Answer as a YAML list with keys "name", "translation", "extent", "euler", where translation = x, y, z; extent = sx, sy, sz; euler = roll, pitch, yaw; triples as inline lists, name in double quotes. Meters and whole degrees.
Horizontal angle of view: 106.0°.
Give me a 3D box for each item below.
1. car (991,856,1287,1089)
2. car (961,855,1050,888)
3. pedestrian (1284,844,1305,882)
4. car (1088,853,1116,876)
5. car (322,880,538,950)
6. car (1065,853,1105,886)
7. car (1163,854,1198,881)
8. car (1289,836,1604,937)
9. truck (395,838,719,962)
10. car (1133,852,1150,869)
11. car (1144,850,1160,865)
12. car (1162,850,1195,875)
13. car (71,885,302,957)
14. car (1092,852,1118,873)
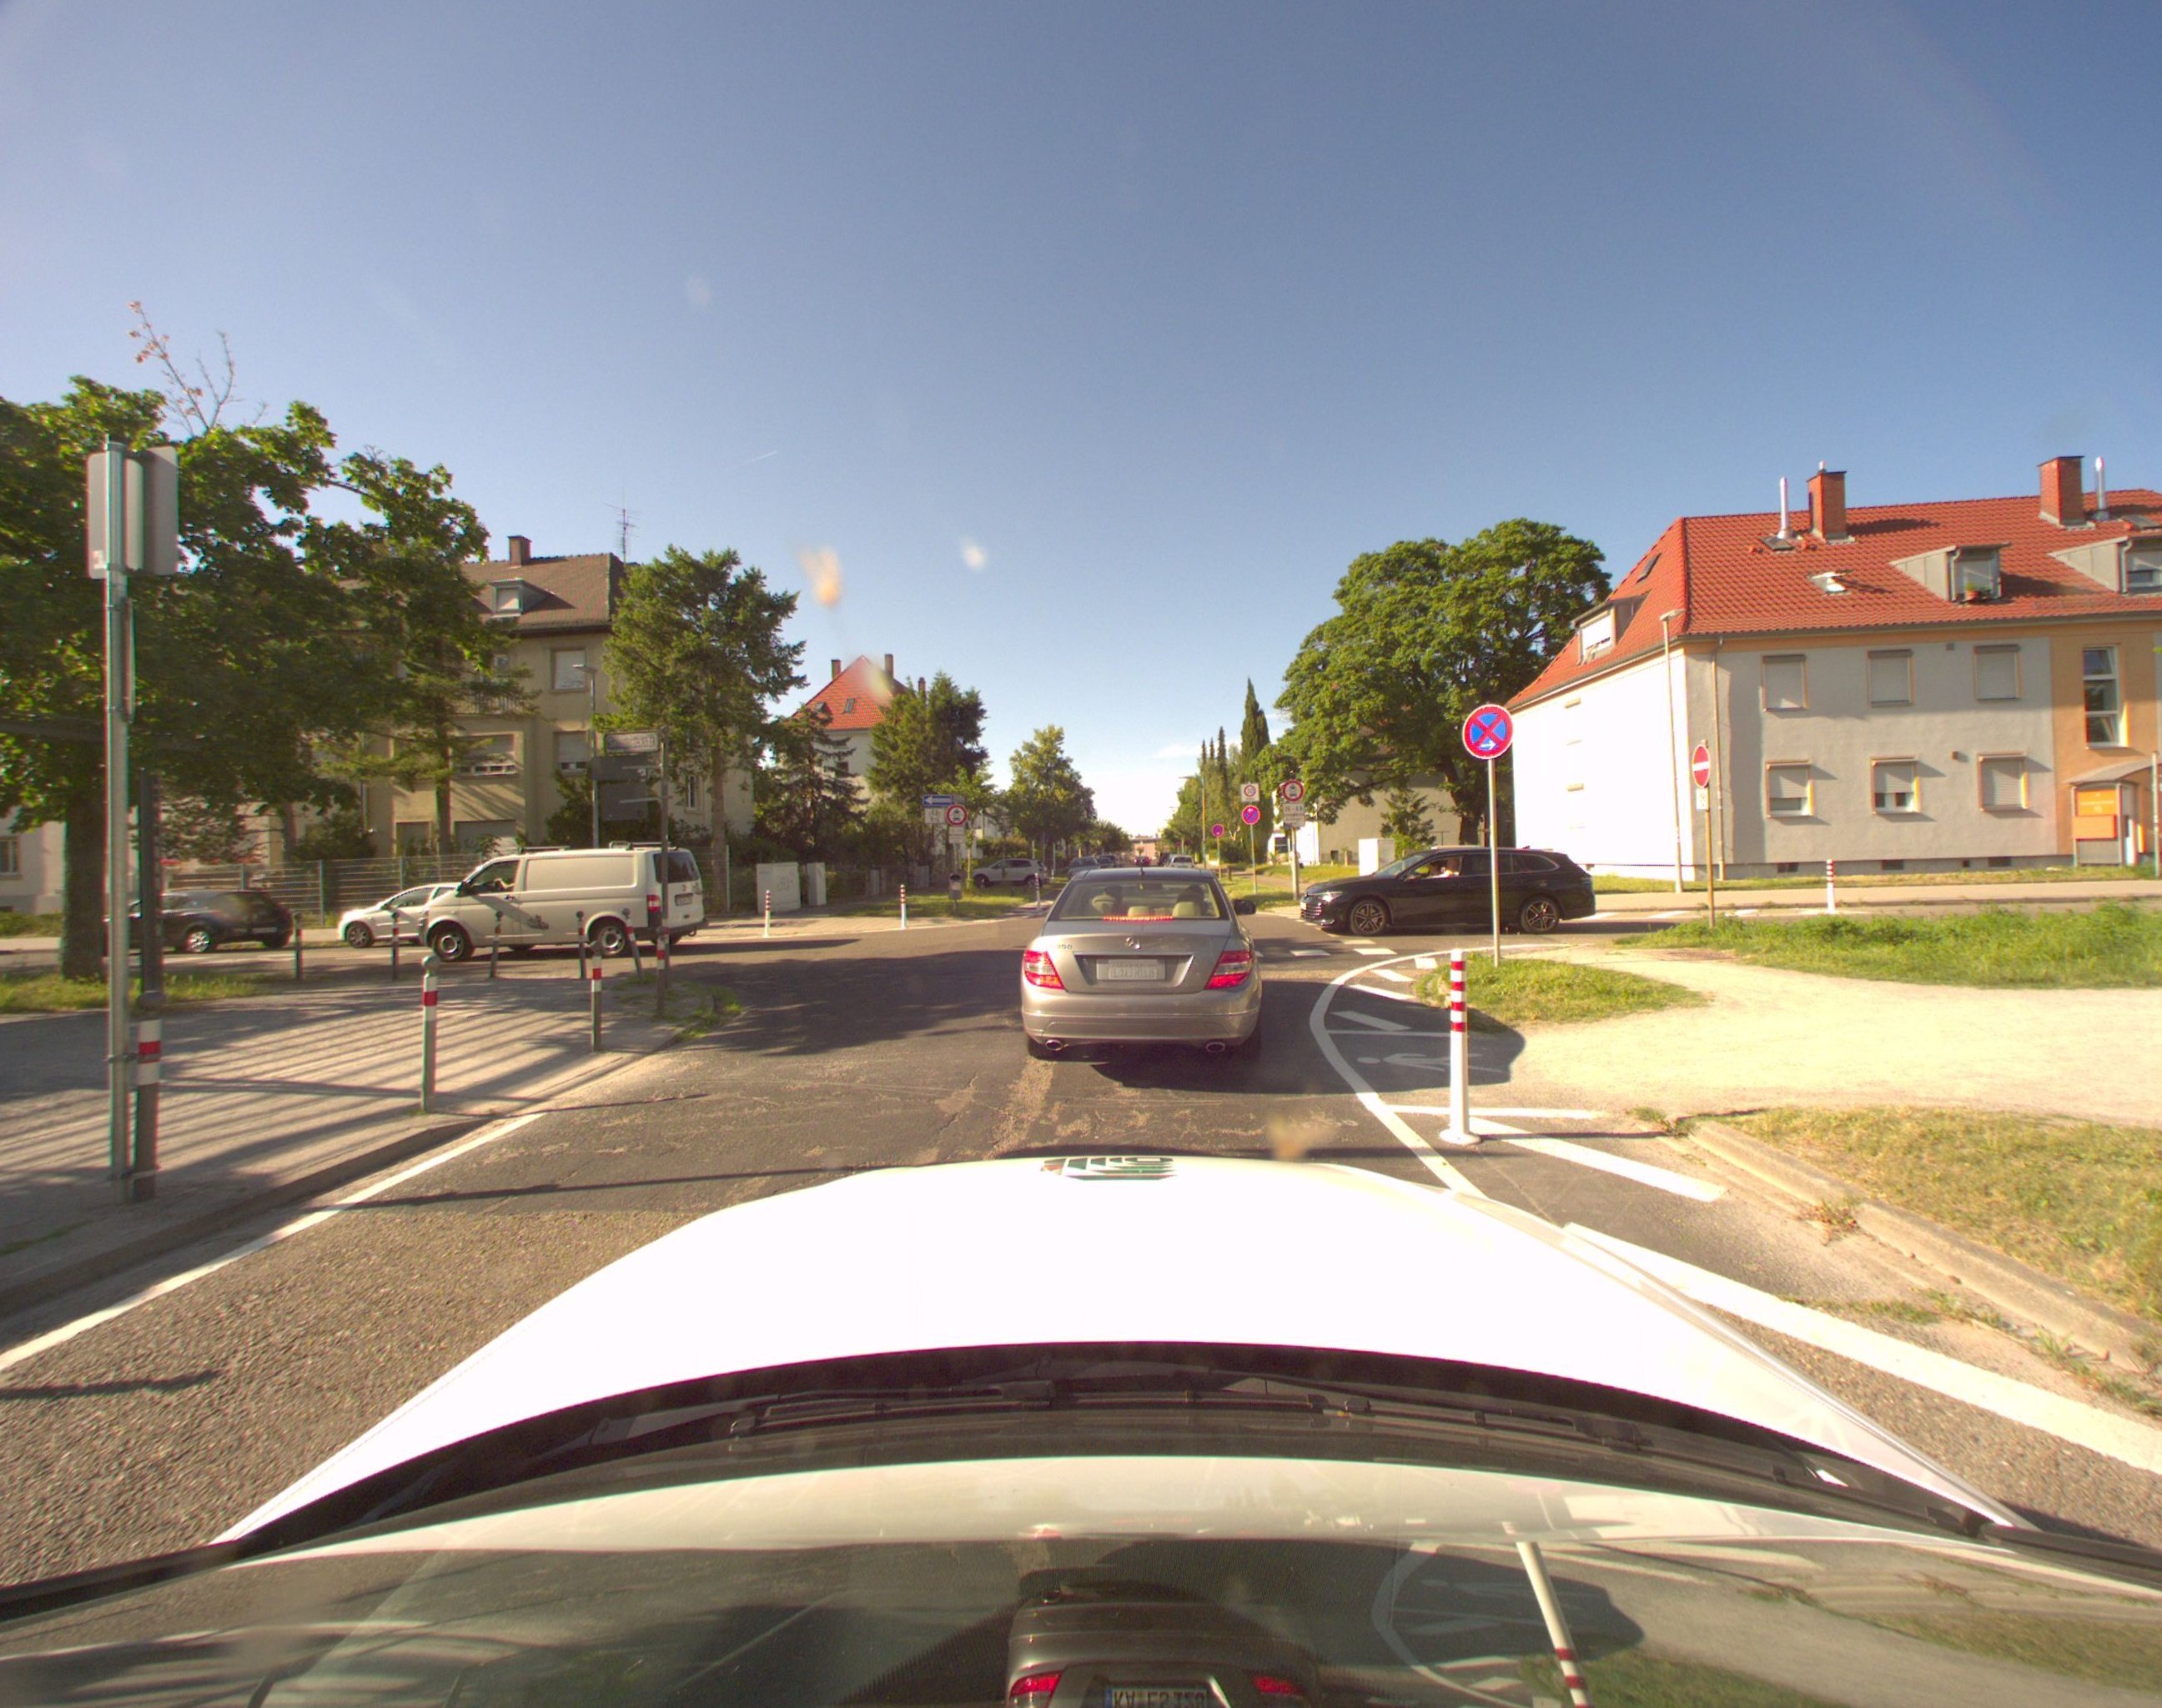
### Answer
- name: "car"
  translation: [0.552, 0.759, 7.125]
  extent: [1.827, 1.441, 4.006]
  euler: [-1, 0, 6]
- name: "car"
  translation: [-3.722, 0.859, 40.723]
  extent: [4.177, 1.564, 1.843]
  euler: [-1, 0, 1]
- name: "pedestrian"
  translation: [9.323, 0.382, 35.640]
  extent: [0.761, 1.611, 0.836]
  euler: [-2, 0, 9]
- name: "car"
  translation: [1.690, 0.801, 63.406]
  extent: [1.986, 1.609, 4.003]
  euler: [-5, 0, 2]
- name: "car"
  translation: [-15.163, 1.398, 19.081]
  extent: [3.747, 1.398, 1.709]
  euler: [-2, -1, 4]
- name: "car"
  translation: [0.275, 0.837, 45.630]
  extent: [1.986, 1.609, 4.003]
  euler: [-5, 0, 2]
- name: "car"
  translation: [5.761, 0.765, 47.583]
  extent: [1.726, 1.480, 3.728]
  euler: [-2, 0, 3]
- name: "car"
  translation: [6.302, 0.544, 14.541]
  extent: [4.717, 1.524, 2.003]
  euler: [-2, 0, 5]
- name: "truck"
  translation: [-9.763, 0.814, 15.421]
  extent: [4.836, 2.036, 2.002]
  euler: [-2, 0, 4]
- name: "car"
  translation: [6.065, 0.663, 81.859]
  extent: [1.591, 1.609, 3.646]
  euler: [-2, 0, 3]
- name: "car"
  translation: [9.007, 0.408, 103.166]
  extent: [1.846, 1.841, 4.004]
  euler: [-2, 0, 4]
- name: "car"
  translation: [6.914, 0.588, 58.284]
  extent: [1.985, 1.609, 4.003]
  euler: [-2, 0, 3]
- name: "car"
  translation: [-21.105, 1.558, 19.295]
  extent: [3.796, 1.495, 1.679]
  euler: [-2, -1, 4]
- name: "car"
  translation: [2.090, 0.706, 69.193]
  extent: [1.986, 1.609, 4.003]
  euler: [-5, 0, 2]
